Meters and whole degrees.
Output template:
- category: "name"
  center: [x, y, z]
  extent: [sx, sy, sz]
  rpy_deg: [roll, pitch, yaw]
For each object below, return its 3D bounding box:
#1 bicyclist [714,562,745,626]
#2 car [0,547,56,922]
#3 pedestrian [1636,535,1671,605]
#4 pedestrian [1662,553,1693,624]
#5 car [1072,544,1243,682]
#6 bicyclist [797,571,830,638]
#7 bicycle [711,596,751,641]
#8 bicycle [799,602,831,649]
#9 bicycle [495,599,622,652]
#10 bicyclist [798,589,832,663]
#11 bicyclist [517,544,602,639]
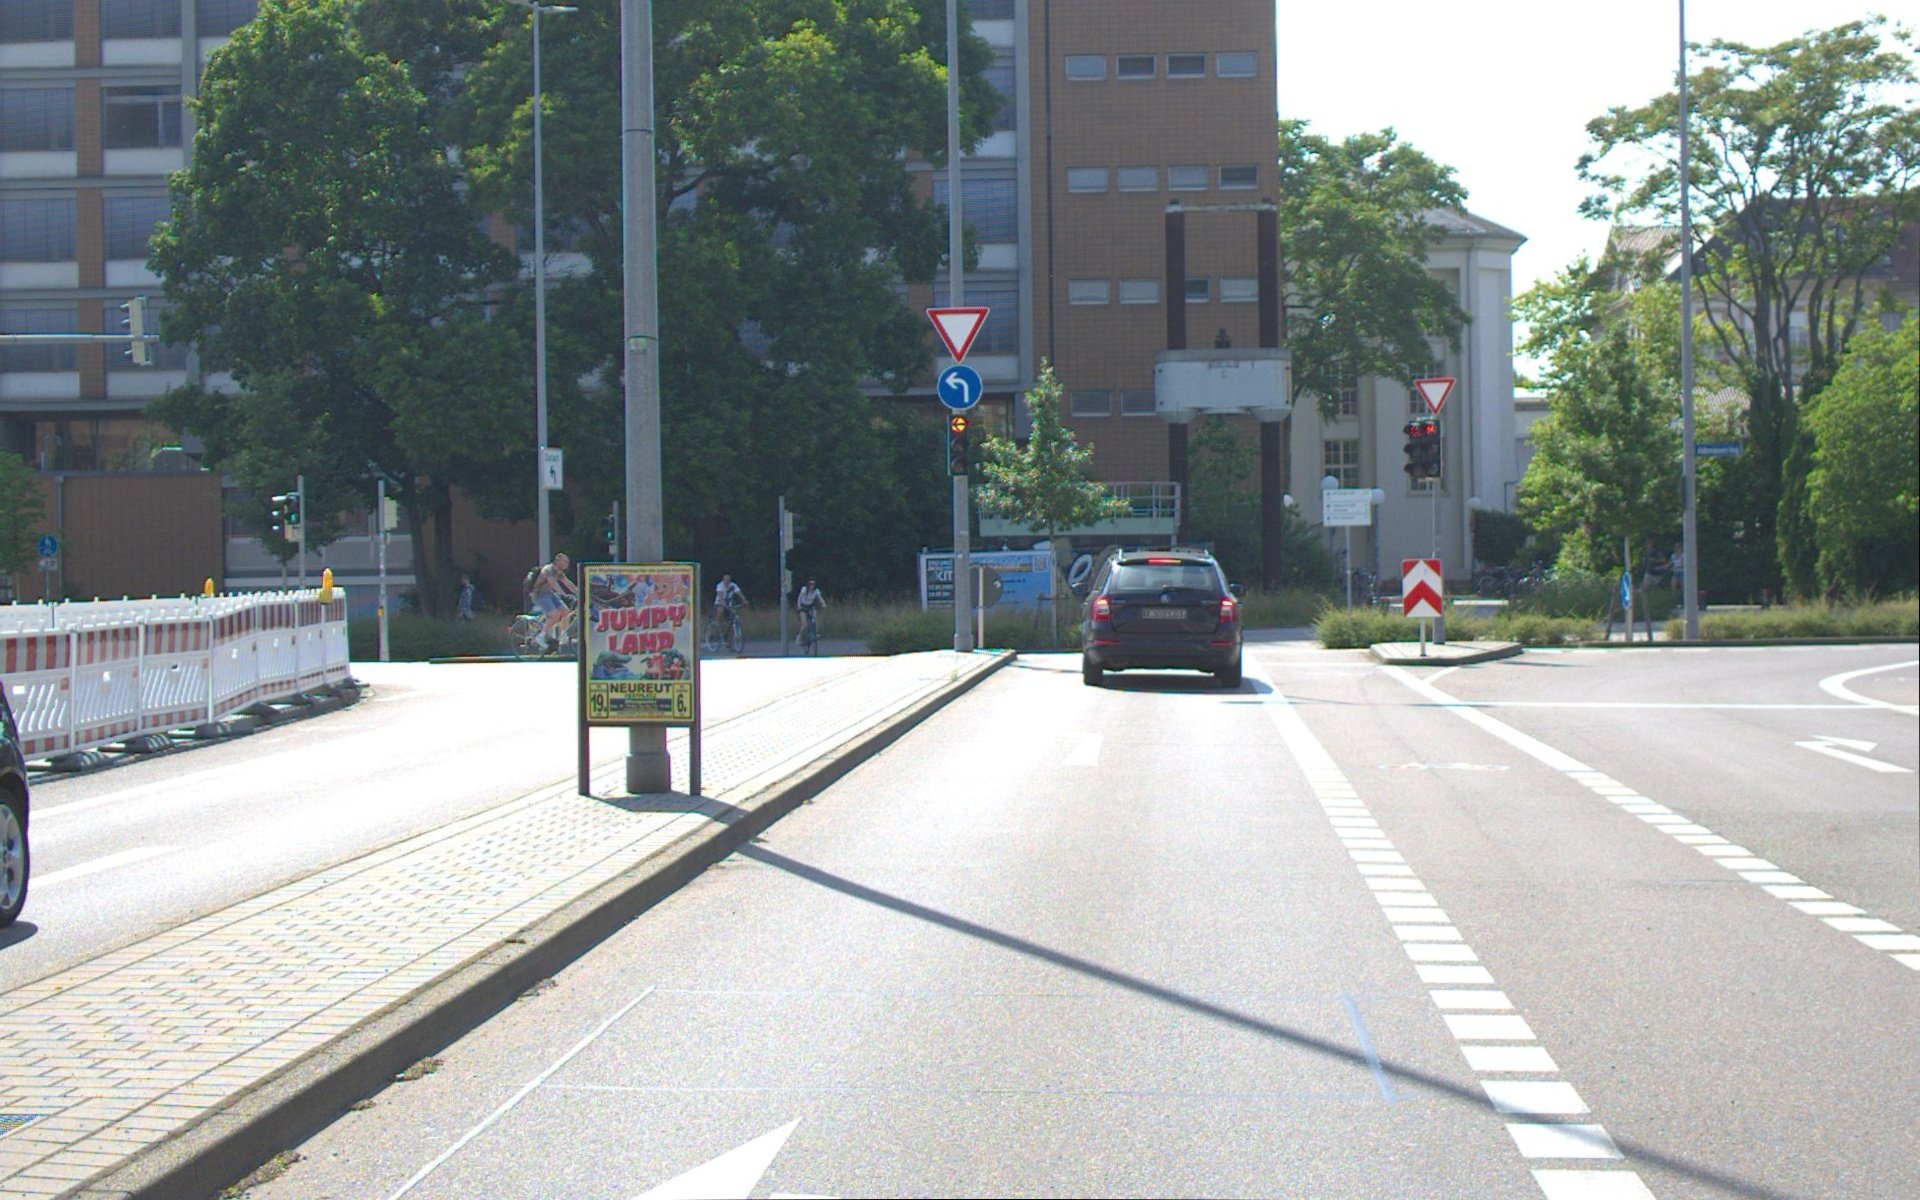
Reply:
- category: "bicyclist"
  center: [-5.198, -0.126, 77.482]
  extent: [0.539, 1.412, 1.030]
  rpy_deg: [-2, 0, 2]
- category: "car"
  center: [-4.653, 0.572, 12.057]
  extent: [1.666, 1.446, 3.817]
  rpy_deg: [-2, 1, 4]
- category: "pedestrian"
  center: [18.928, -0.814, 93.808]
  extent: [0.794, 1.868, 0.638]
  rpy_deg: [-2, 1, 17]
- category: "pedestrian"
  center: [19.340, -0.308, 92.655]
  extent: [0.637, 1.868, 0.796]
  rpy_deg: [-3, 1, 4]
- category: "car"
  center: [2.212, 0.108, 38.128]
  extent: [1.780, 1.438, 3.817]
  rpy_deg: [1, 1, 4]
- category: "bicyclist"
  center: [-3.220, 0.091, 75.749]
  extent: [0.618, 1.438, 0.921]
  rpy_deg: [-3, 1, -1]
- category: "bicycle"
  center: [-5.189, 0.410, 77.952]
  extent: [0.704, 0.974, 2.031]
  rpy_deg: [-1, 1, 2]
- category: "bicycle"
  center: [-3.193, 0.563, 75.753]
  extent: [0.618, 0.957, 1.968]
  rpy_deg: [-3, 1, -1]
- category: "bicycle"
  center: [-6.296, 0.397, 53.891]
  extent: [1.891, 0.790, 0.560]
  rpy_deg: [-1, 2, 17]
- category: "bicyclist"
  center: [-3.192, 0.563, 75.753]
  extent: [0.618, 1.576, 1.014]
  rpy_deg: [-3, 1, -1]
- category: "bicyclist"
  center: [-6.284, -0.138, 53.895]
  extent: [1.166, 1.469, 0.564]
  rpy_deg: [-1, 1, 16]
